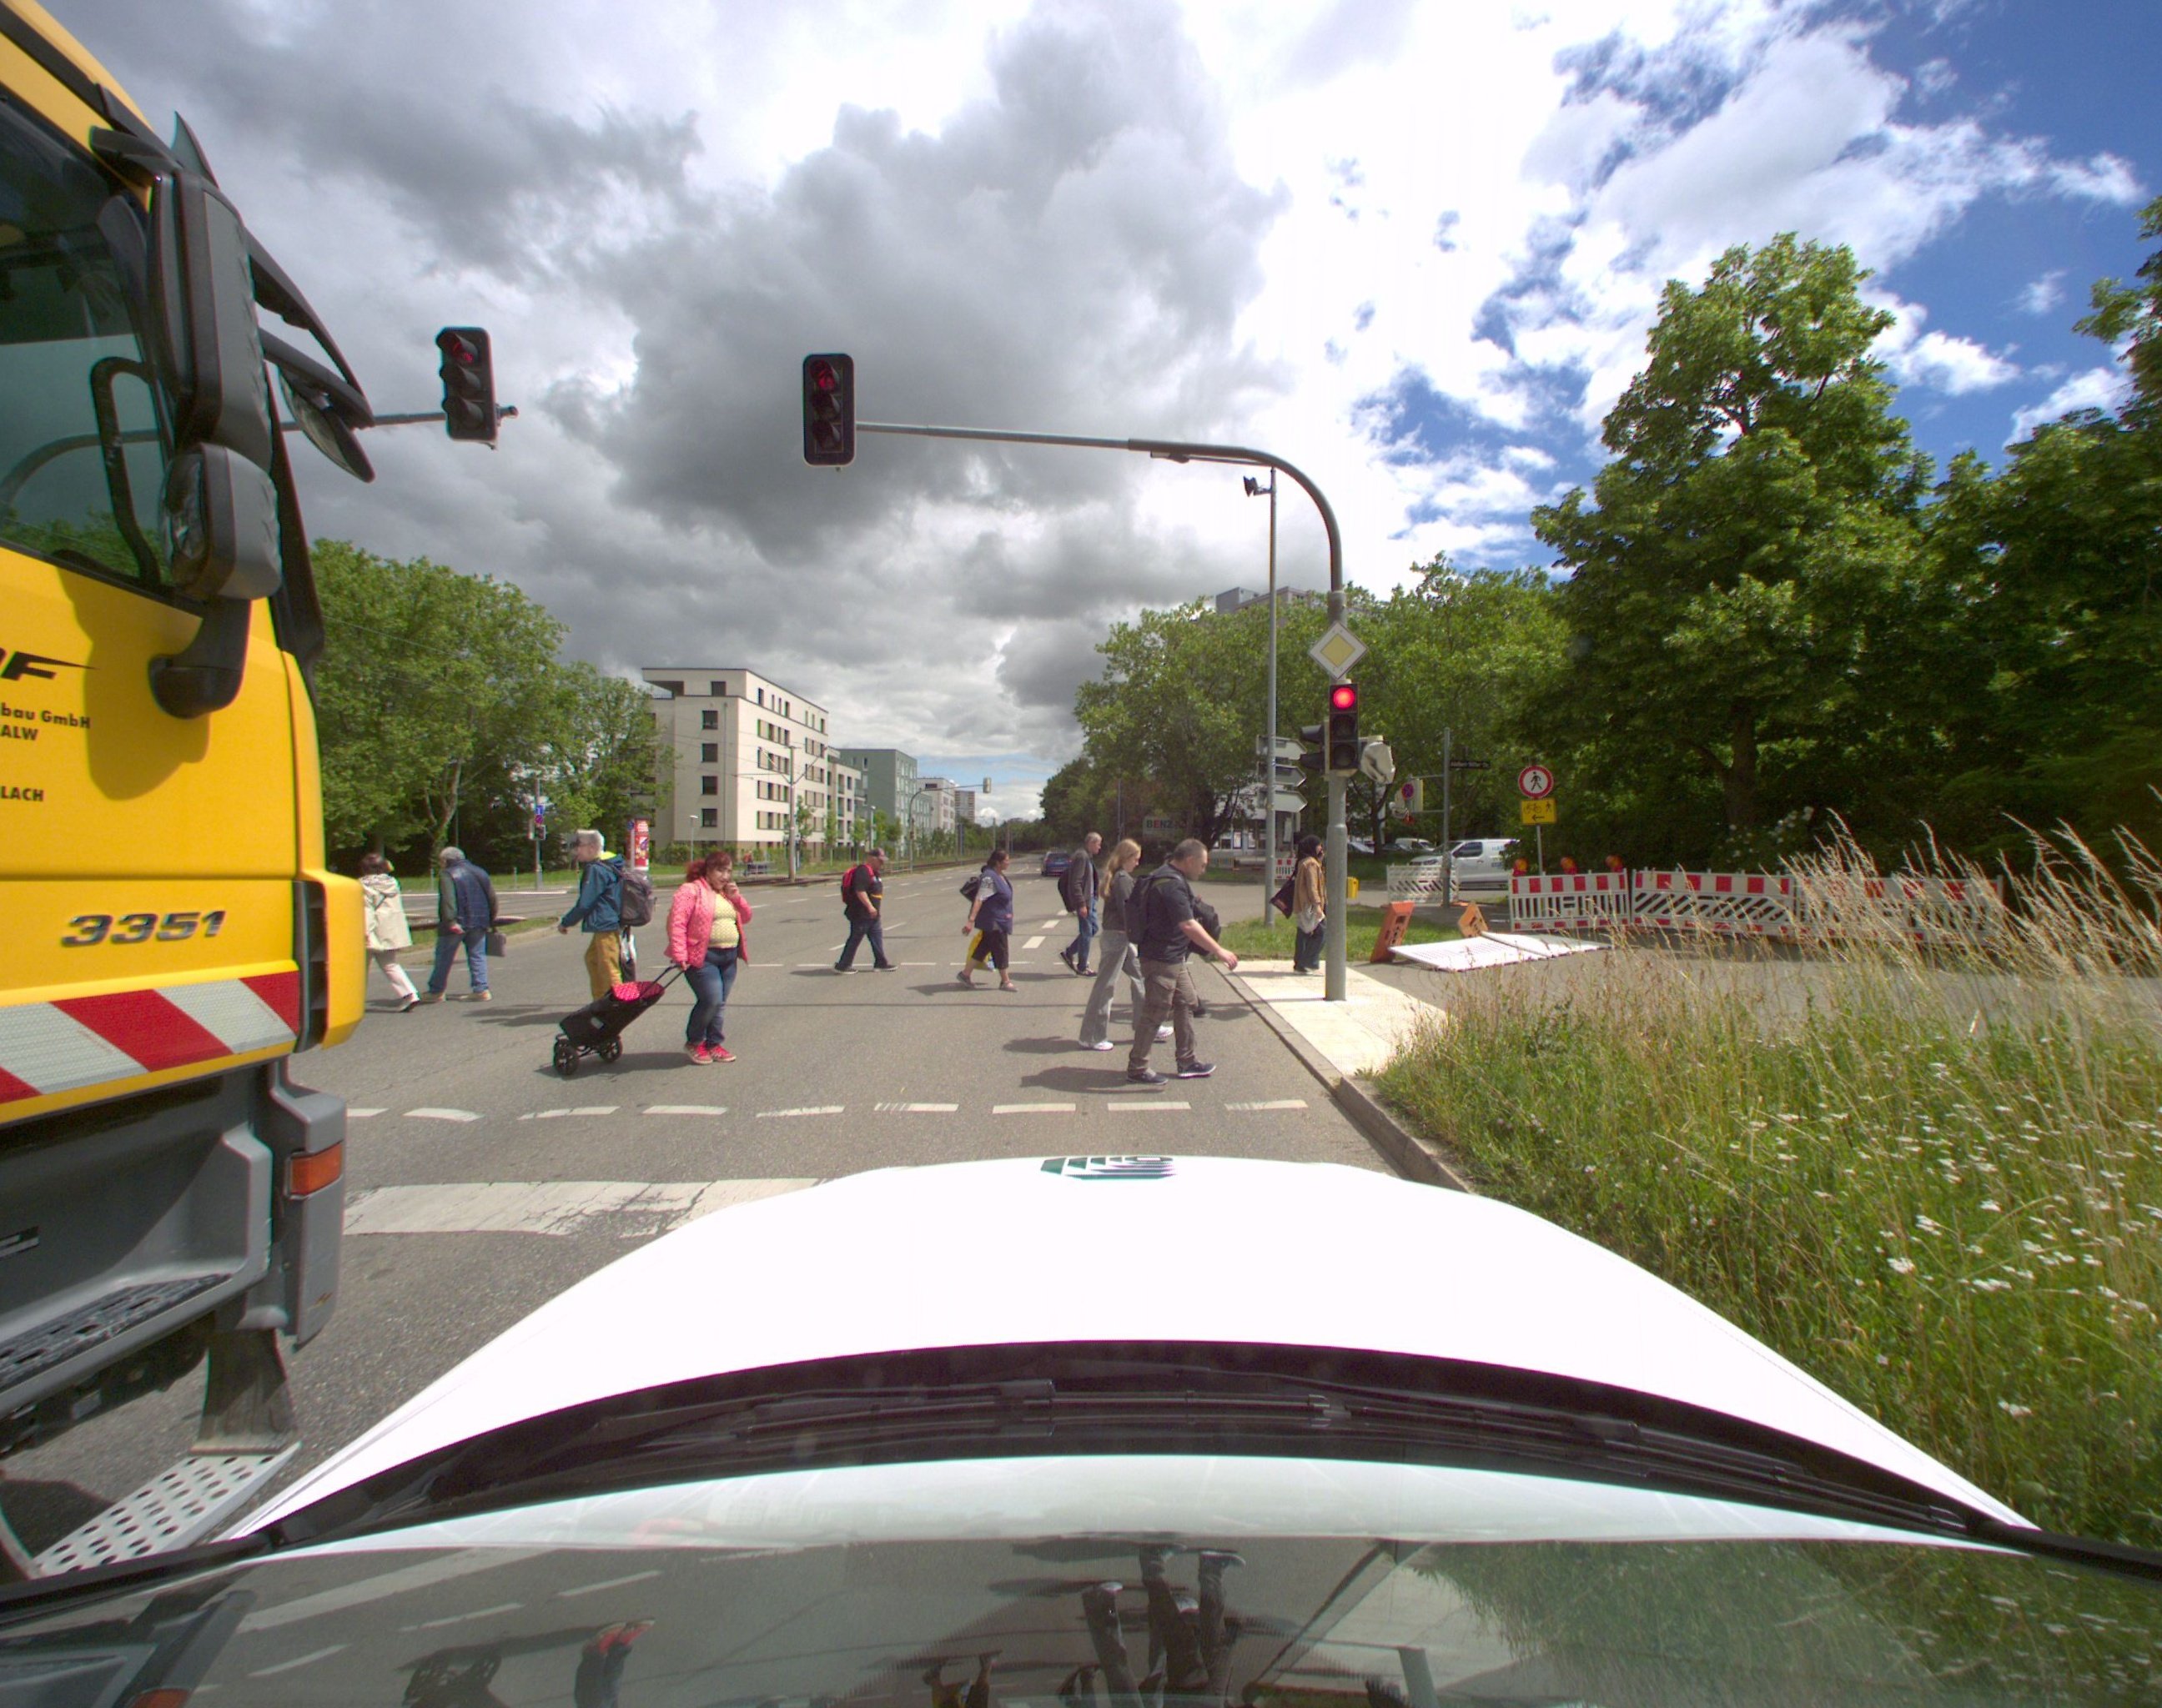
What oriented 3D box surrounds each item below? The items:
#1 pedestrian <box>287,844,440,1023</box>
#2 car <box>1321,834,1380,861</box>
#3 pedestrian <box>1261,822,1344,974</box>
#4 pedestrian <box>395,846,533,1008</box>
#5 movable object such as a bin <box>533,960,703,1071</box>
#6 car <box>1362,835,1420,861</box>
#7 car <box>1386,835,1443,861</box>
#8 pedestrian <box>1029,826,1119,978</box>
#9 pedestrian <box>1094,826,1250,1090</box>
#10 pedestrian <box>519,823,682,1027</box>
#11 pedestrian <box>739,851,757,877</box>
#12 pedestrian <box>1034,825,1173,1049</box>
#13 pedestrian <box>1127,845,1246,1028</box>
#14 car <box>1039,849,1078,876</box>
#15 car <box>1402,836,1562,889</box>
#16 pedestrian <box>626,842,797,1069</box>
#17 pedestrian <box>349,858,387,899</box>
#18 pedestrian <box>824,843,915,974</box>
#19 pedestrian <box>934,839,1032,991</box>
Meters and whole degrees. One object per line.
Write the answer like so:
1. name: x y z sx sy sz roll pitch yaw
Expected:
1. pedestrian: -6.922 0.728 7.901 0.821 1.640 0.732 0 0 -4
2. car: 20.568 -0.487 62.246 2.006 2.013 3.962 -1 0 -29
3. pedestrian: 2.637 0.505 9.777 0.779 1.742 0.829 -1 0 2
4. pedestrian: -6.520 0.732 8.654 0.867 1.634 0.764 -1 0 -5
5. movable object such as a bin: -3.384 1.168 6.021 0.792 0.662 0.778 -1 0 2
6. car: 24.599 -0.495 64.727 2.006 2.013 3.962 -1 0 -29
7. car: 27.314 -0.499 66.860 2.006 2.013 3.962 -1 0 -29
8. pedestrian: -0.064 0.560 10.001 0.998 1.773 0.930 -1 0 5
9. pedestrian: 0.590 0.649 5.545 0.955 1.648 0.881 -1 0 2
10. pedestrian: -4.457 0.613 7.651 1.009 1.774 0.946 -1 0 -8
11. pedestrian: -20.359 0.605 49.773 0.827 1.516 0.636 -1 0 1
12. pedestrian: 0.198 0.614 6.501 1.016 1.648 0.930 -1 0 4
13. pedestrian: 0.933 0.705 7.422 0.944 1.552 0.843 -1 0 -3
14. car: -1.366 0.482 47.885 1.980 1.486 4.482 -1 0 -6
15. car: 14.916 0.298 30.451 5.063 1.874 1.947 -1 0 -2
16. pedestrian: -2.676 0.701 5.980 0.877 1.554 0.747 -1 0 2
17. pedestrian: -30.287 1.026 34.610 1.105 1.676 0.916 -1 0 -34
18. pedestrian: -2.683 0.664 10.420 0.889 1.596 0.908 -1 0 2
19. pedestrian: -1.068 0.646 9.103 0.908 1.607 0.930 -1 0 3
